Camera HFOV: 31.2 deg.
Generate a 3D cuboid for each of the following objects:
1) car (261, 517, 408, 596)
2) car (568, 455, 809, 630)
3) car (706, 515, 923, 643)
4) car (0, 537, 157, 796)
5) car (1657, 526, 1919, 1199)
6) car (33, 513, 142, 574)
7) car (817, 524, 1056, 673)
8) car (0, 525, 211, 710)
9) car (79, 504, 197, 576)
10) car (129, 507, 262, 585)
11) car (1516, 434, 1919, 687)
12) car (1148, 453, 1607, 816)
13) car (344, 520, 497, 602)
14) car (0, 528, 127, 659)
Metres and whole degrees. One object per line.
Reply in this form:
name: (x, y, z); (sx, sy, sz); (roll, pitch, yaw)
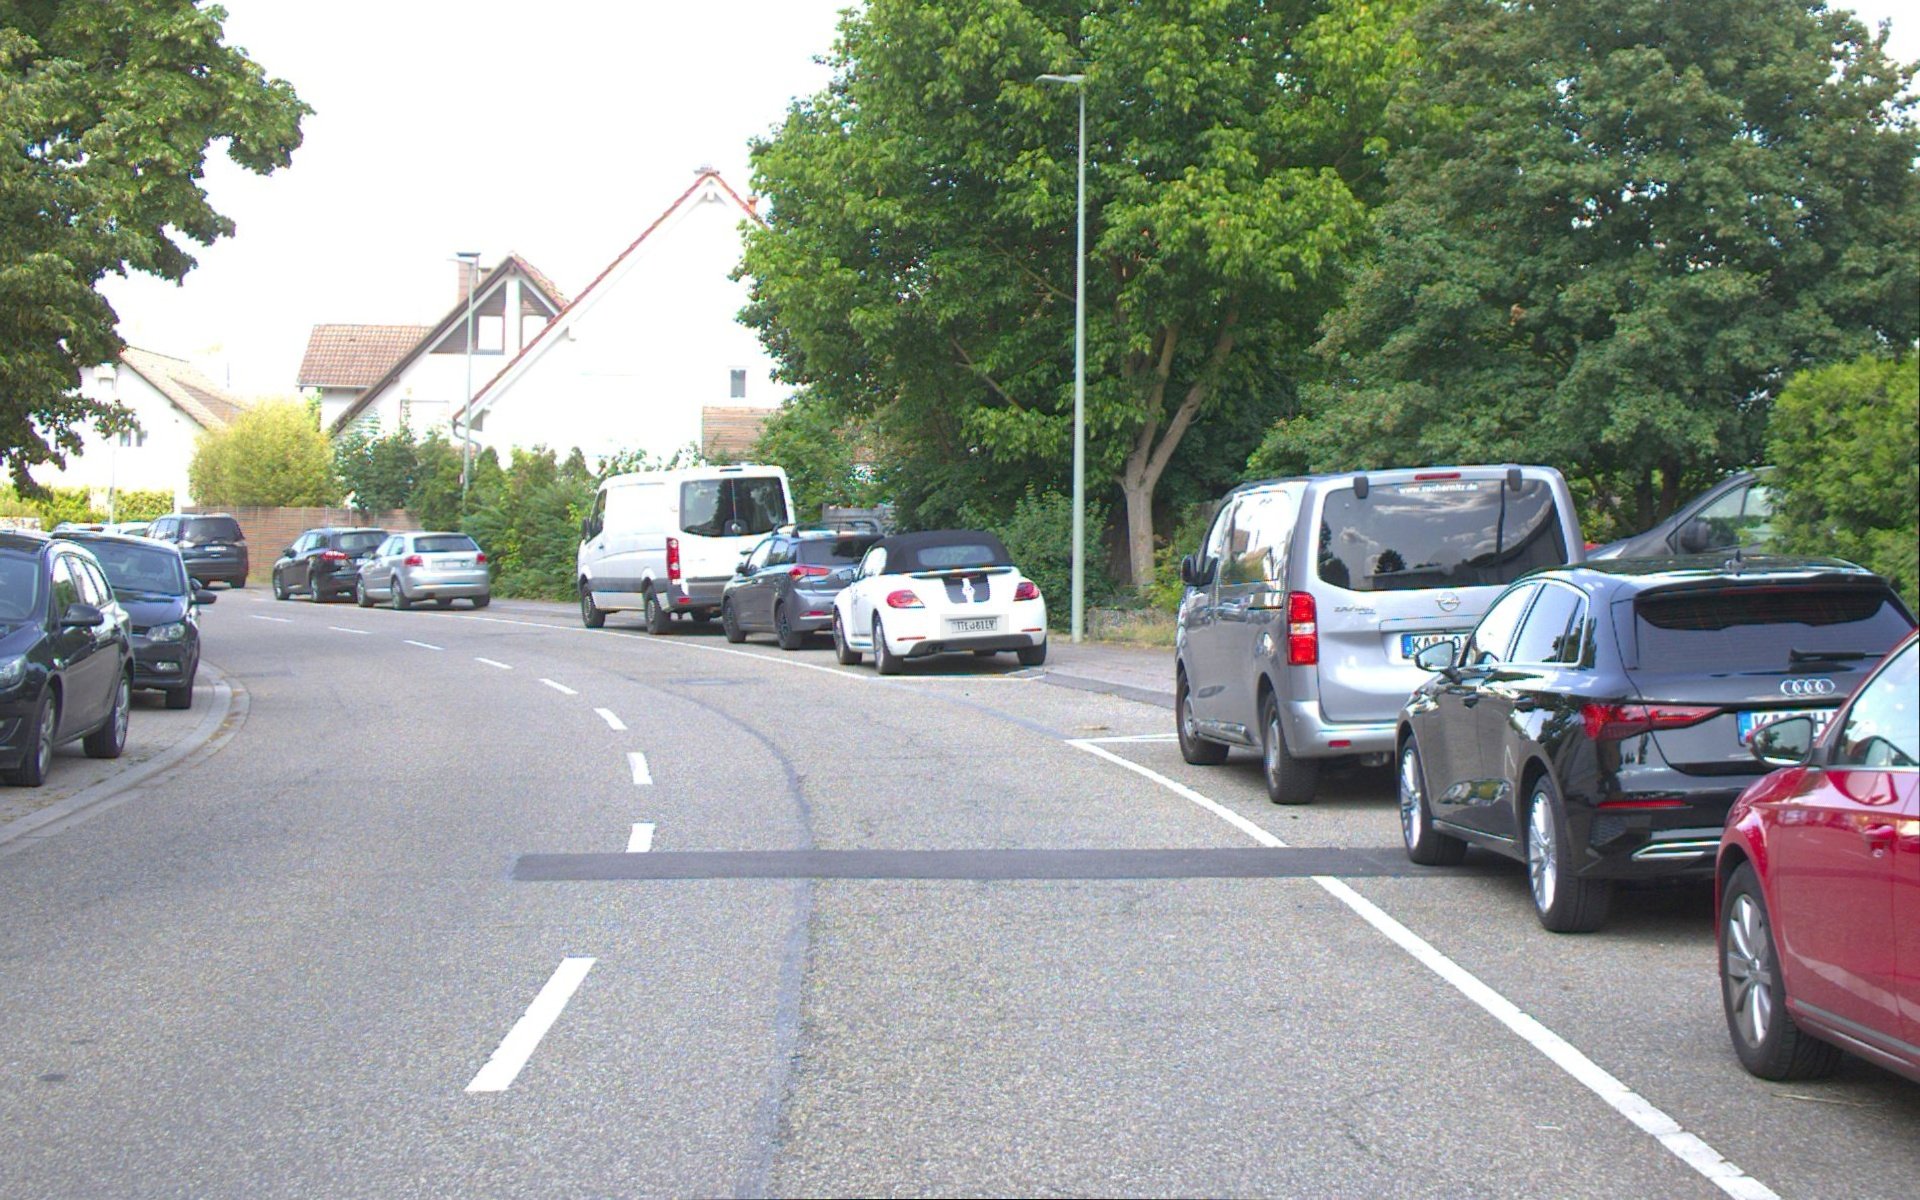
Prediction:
car: (-12.655, -0.891, 69.382); (1.737, 1.504, 4.477); (0, 1, -26)
car: (-4.103, -0.870, 50.795); (2.117, 2.432, 5.896); (0, 1, -19)
car: (-1.943, -0.303, 44.737); (1.717, 1.580, 4.125); (0, 1, -19)
car: (-6.471, 0.344, 22.332); (1.760, 1.484, 4.505); (1, 1, -4)
car: (3.143, 0.624, 8.261); (1.849, 1.574, 4.733); (1, 1, -1)
car: (-22.778, -1.489, 89.659); (1.794, 1.518, 3.974); (0, 1, -29)
car: (-0.329, -0.059, 37.737); (1.739, 1.507, 4.460); (0, 1, -12)
car: (-7.737, 0.112, 31.143); (1.760, 1.484, 4.034); (2, 1, -13)
car: (-20.487, -1.504, 85.624); (1.795, 1.742, 3.974); (0, 1, -30)
car: (-17.802, -1.276, 79.946); (1.794, 1.742, 4.584); (0, 1, -29)
car: (7.547, -0.332, 29.452); (5.343, 2.050, 1.999); (1, 1, 13)
car: (2.435, 0.129, 21.320); (1.842, 1.938, 4.877); (-2, 1, -4)
car: (-10.140, -0.748, 64.364); (1.737, 1.452, 4.366); (0, 1, -24)
car: (-11.114, -0.121, 41.845); (1.836, 1.434, 4.093); (3, 1, -14)
